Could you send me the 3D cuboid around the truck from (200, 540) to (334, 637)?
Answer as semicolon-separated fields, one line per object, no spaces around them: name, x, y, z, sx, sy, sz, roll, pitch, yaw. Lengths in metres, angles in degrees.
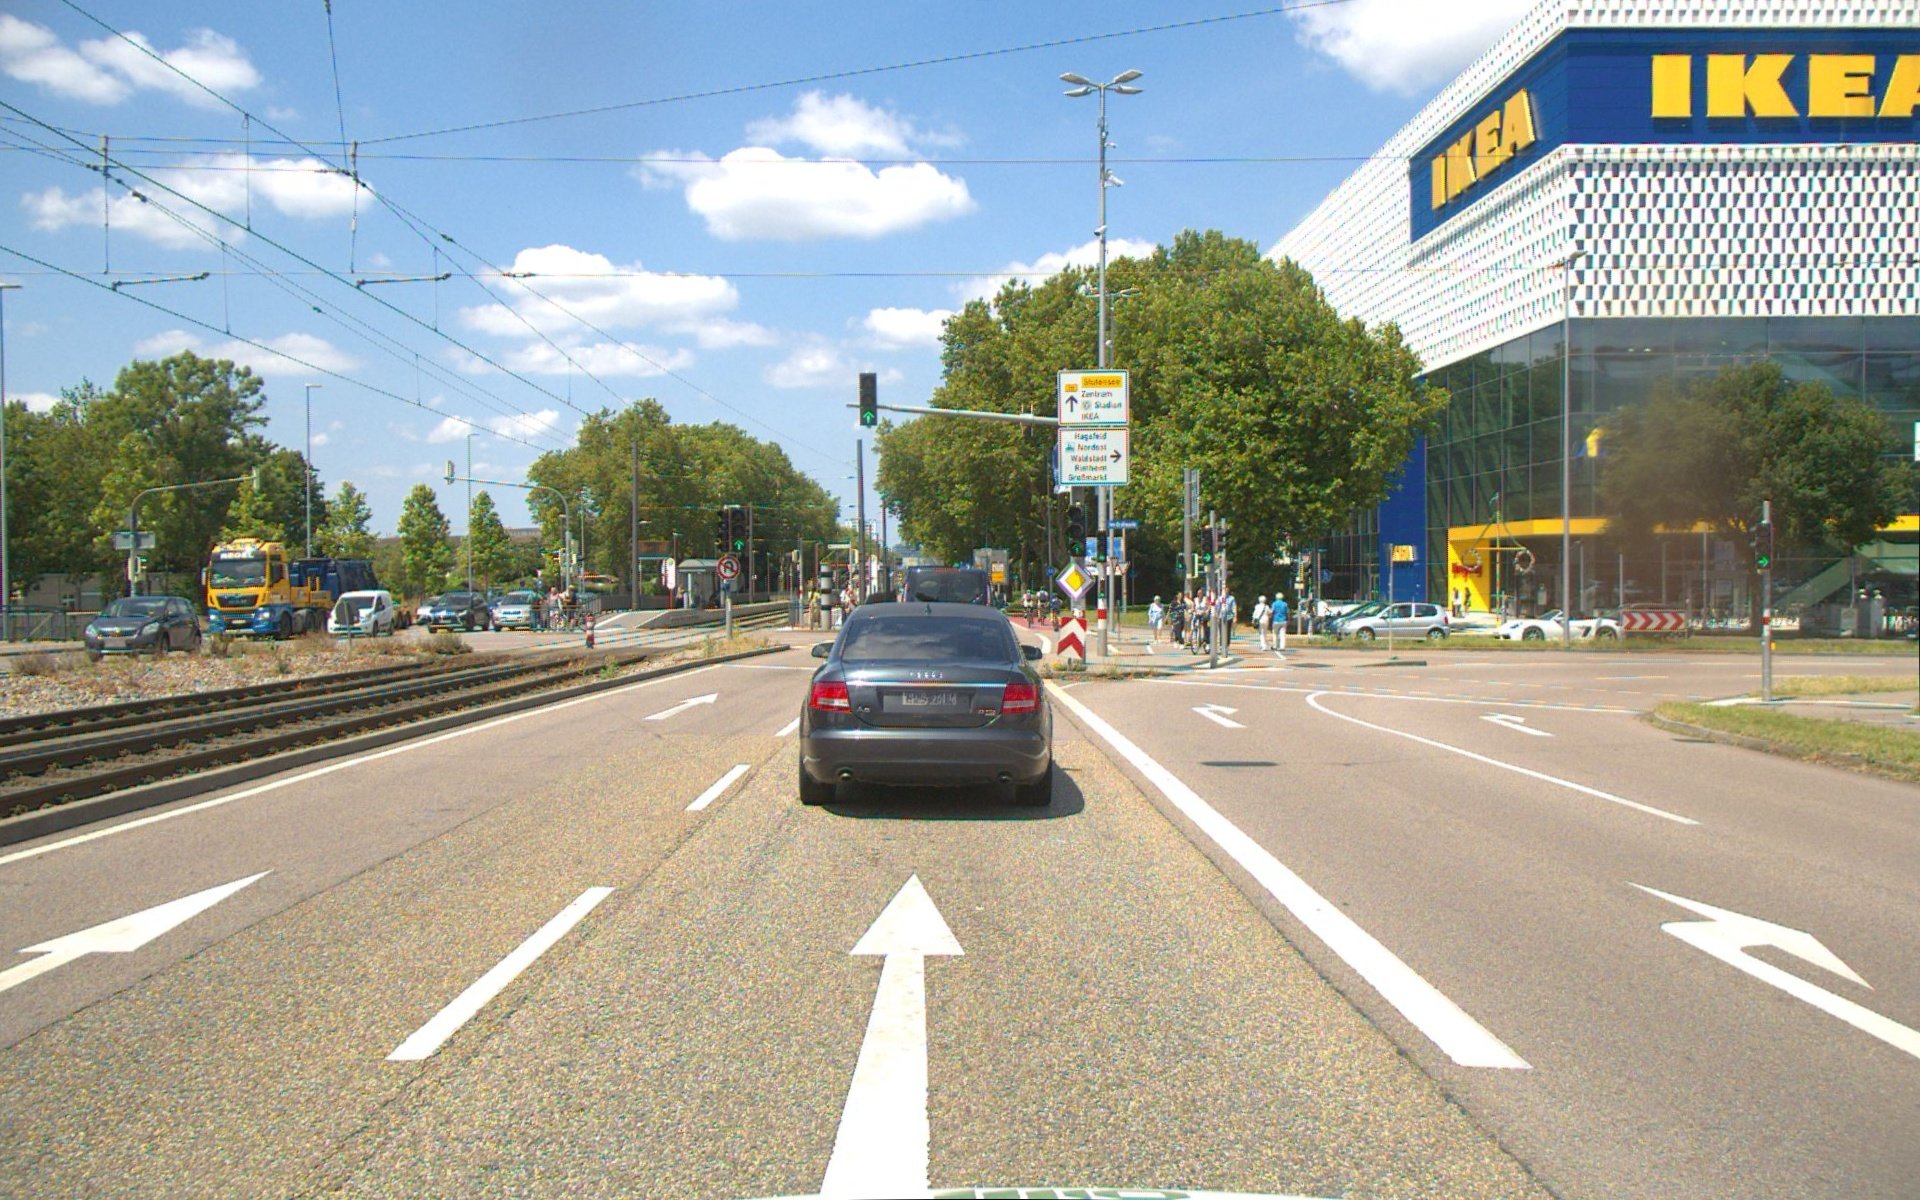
truck;-27.497;-0.453;65.920;2.711;3.631;6.438;1;0;-1

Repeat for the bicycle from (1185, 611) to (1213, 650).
bicycle;6.688;0.853;46.216;0.645;1.040;1.863;1;0;12

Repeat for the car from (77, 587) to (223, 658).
car;-20.827;0.540;42.731;1.786;1.699;4.458;1;0;-4

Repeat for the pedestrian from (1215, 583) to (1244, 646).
pedestrian;8.060;0.428;49.499;0.671;1.878;0.706;1;0;25

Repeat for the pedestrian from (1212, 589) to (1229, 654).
pedestrian;6.767;0.555;42.981;0.373;1.663;0.377;1;0;2

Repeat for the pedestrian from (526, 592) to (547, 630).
pedestrian;-16.466;0.443;64.332;0.671;1.468;0.572;0;0;-5

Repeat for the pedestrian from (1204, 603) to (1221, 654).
pedestrian;8.410;0.952;55.099;0.510;1.699;0.494;1;0;2

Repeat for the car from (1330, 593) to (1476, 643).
car;14.894;0.593;55.780;4.403;1.512;2.001;2;0;2

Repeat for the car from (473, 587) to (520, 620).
car;-28.102;0.209;100.407;1.781;1.916;3.999;1;0;-1

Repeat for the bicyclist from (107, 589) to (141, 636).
bicyclist;-31.961;0.472;63.218;1.097;1.805;0.340;1;0;-6

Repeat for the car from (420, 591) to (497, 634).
car;-21.439;0.511;70.877;1.784;1.699;4.462;1;0;2

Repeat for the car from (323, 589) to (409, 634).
car;-23.870;0.433;66.620;1.785;1.699;4.461;1;0;0

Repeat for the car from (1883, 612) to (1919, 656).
car;35.944;1.264;59.442;4.403;1.512;2.001;2;0;2

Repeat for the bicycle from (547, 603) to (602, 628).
bicycle;-14.810;0.604;63.562;2.019;0.941;0.751;1;0;-11

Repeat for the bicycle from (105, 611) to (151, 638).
bicycle;-31.785;0.944;63.194;1.461;1.004;0.485;1;0;-5

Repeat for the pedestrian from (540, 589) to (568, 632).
pedestrian;-16.441;0.418;66.955;0.806;1.750;0.775;1;0;21

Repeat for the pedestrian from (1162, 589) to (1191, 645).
pedestrian;6.530;0.498;49.860;0.699;1.663;0.706;1;0;24

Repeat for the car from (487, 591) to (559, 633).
car;-18.747;0.471;71.129;1.784;1.699;4.462;1;0;1

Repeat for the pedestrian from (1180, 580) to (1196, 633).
pedestrian;7.155;0.201;51.996;0.435;1.663;0.430;1;0;2

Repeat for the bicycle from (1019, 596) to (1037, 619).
bicycle;3.179;0.342;77.614;0.673;1.011;2.751;1;0;0

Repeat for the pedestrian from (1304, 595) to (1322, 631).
pedestrian;15.565;0.564;72.903;0.690;1.571;0.678;1;0;18

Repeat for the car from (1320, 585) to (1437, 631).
car;14.912;0.275;59.056;3.710;1.512;2.001;2;0;2

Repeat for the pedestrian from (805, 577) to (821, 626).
pedestrian;-6.095;0.063;68.558;0.672;2.049;0.572;0;0;-5

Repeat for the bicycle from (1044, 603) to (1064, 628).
bicycle;4.028;0.674;71.089;0.673;1.023;2.751;1;0;0

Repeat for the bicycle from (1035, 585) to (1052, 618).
bicycle;4.103;0.064;81.434;0.673;1.545;2.751;1;0;0

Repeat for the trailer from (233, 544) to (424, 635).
trailer;-27.652;-0.438;73.635;2.711;3.580;15.874;1;0;-1

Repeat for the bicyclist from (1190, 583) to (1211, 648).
bicyclist;6.710;0.429;46.184;0.517;1.795;0.828;0;0;12

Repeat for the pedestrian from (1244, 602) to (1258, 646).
pedestrian;8.758;0.722;49.747;0.365;1.326;0.365;1;0;2

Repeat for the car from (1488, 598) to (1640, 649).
car;20.313;0.776;55.786;4.403;1.512;2.001;2;0;2

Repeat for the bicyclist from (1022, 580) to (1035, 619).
bicyclist;3.222;-0.042;77.674;0.518;1.820;1.088;0;0;0

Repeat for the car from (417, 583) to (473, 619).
car;-27.774;0.050;89.284;1.765;1.849;4.000;1;0;-1

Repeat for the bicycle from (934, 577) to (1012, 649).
bicycle;0.441;0.362;50.017;1.951;2.049;4.003;1;0;6

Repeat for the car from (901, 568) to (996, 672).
car;-0.253;0.377;33.517;1.799;1.984;3.999;0;0;-1

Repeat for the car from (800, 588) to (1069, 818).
car;-0.193;0.658;12.783;1.756;1.480;3.999;0;1;-1

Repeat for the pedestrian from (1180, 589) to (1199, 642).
pedestrian;7.213;0.486;52.050;0.542;1.663;0.433;1;0;2

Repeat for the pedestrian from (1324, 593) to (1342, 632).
pedestrian;16.406;0.549;72.711;0.690;1.663;0.612;1;0;18

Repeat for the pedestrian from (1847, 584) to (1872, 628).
pedestrian;42.181;0.262;77.578;0.696;2.049;0.824;1;0;1

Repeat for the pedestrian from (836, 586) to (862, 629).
pedestrian;-4.186;0.287;62.290;0.728;1.583;0.606;1;0;36

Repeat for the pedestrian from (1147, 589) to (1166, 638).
pedestrian;6.372;0.433;53.599;0.483;1.546;0.707;1;0;16

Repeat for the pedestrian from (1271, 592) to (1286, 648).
pedestrian;9.583;0.590;49.774;0.389;1.663;0.371;1;0;2

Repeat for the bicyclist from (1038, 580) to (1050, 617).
bicyclist;4.113;-0.077;81.215;0.518;1.820;1.088;0;0;-1

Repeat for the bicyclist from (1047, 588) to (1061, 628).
bicyclist;4.043;0.334;71.225;0.518;1.705;1.088;0;0;-1

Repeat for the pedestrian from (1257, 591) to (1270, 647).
pedestrian;9.133;0.562;49.782;0.314;1.663;0.377;1;0;2
